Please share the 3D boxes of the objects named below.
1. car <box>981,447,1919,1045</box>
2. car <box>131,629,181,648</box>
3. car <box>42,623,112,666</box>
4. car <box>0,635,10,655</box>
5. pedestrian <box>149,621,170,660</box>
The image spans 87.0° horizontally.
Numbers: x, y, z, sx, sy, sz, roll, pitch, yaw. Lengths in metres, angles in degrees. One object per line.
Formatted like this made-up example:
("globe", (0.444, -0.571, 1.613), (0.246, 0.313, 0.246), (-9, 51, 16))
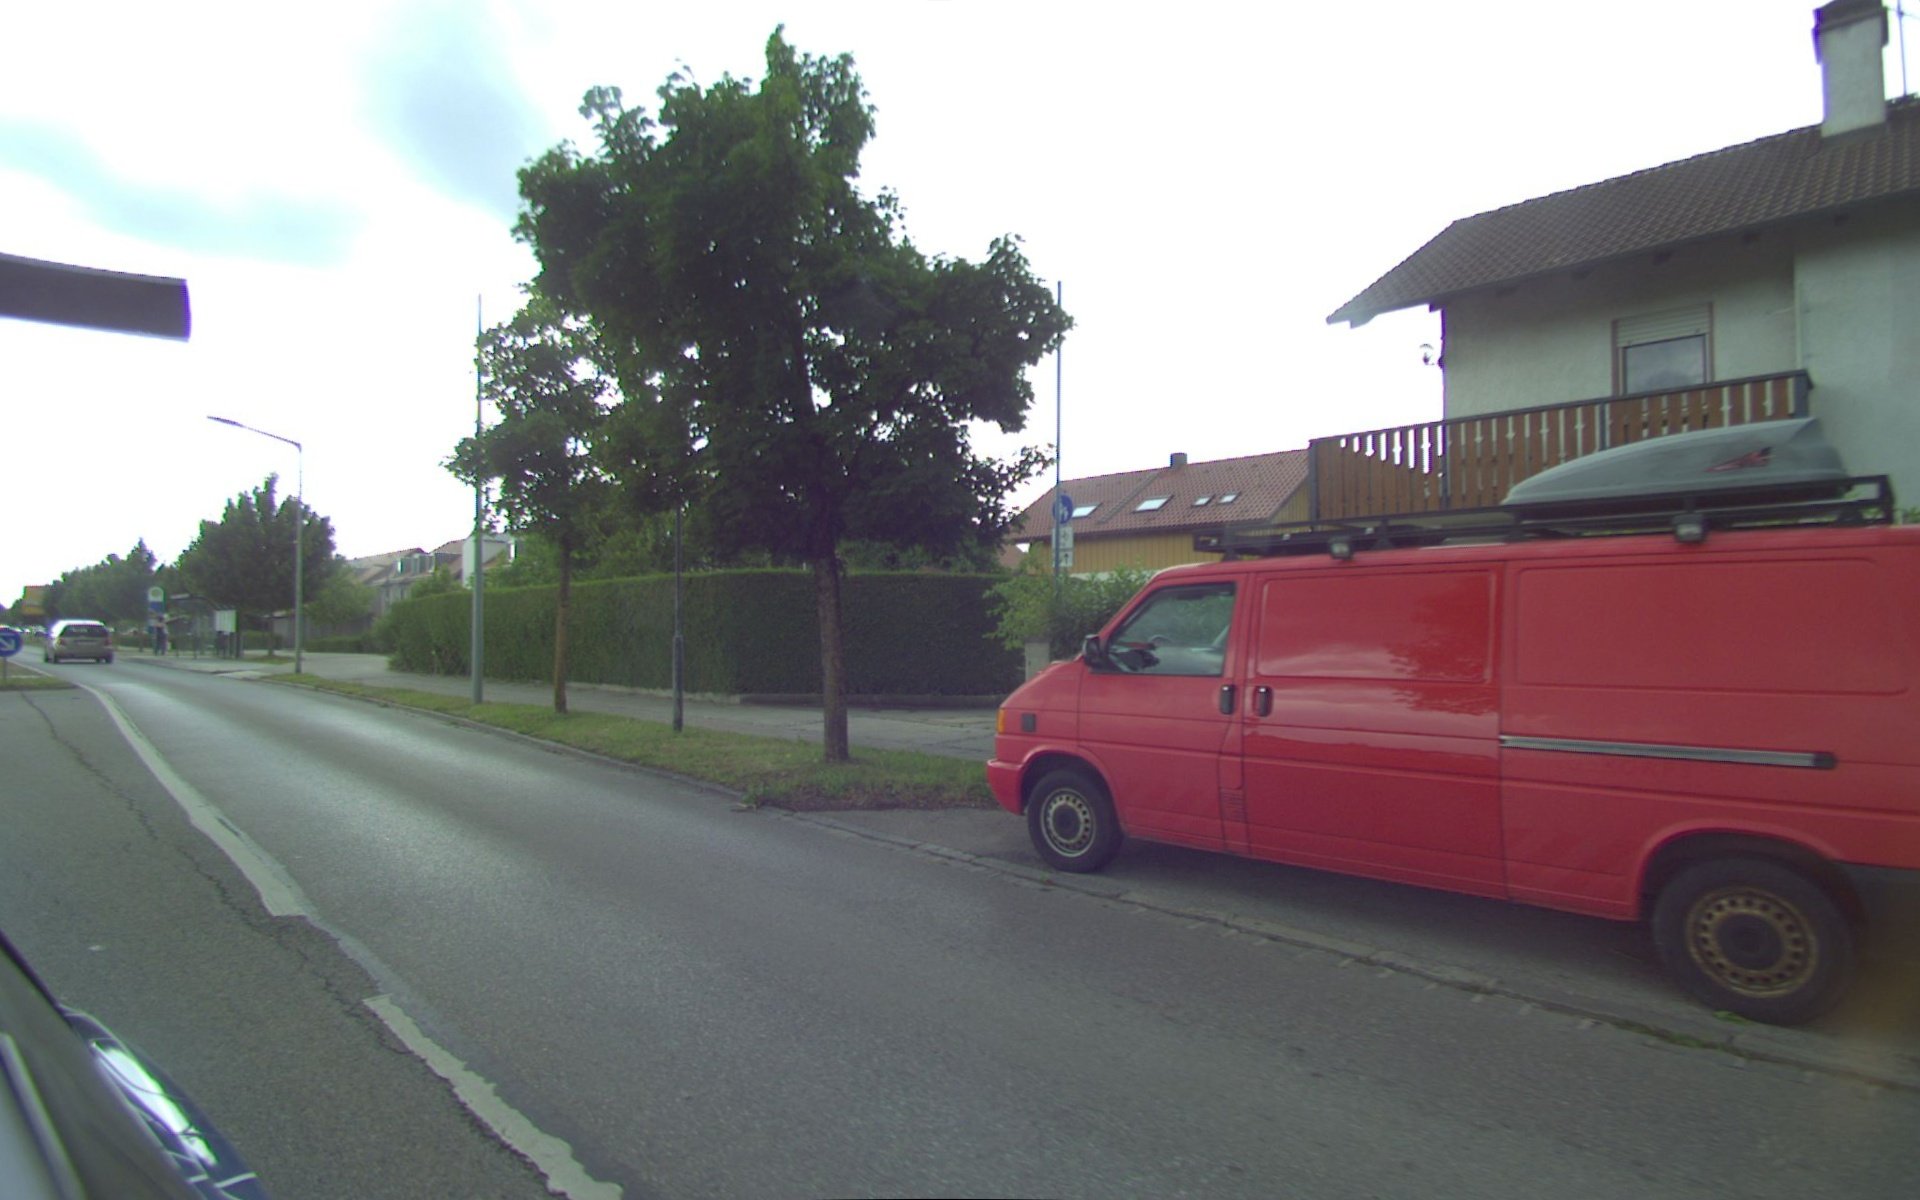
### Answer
("car", (2.581, 0.553, 5.400), (5.046, 2.046, 1.810), (-2, -2, 44))
("car", (-94.697, 4.471, 119.198), (4.504, 2.029, 2.002), (-1, 0, -43))
("car", (-33.389, 1.675, 38.252), (3.509, 1.544, 1.687), (-2, -4, 45))
("car", (-71.416, 3.318, 74.494), (4.496, 1.465, 1.899), (-2, -3, 43))
("pedestrian", (-34.034, 1.712, 43.026), (0.812, 1.649, 0.582), (-2, -2, 42))
